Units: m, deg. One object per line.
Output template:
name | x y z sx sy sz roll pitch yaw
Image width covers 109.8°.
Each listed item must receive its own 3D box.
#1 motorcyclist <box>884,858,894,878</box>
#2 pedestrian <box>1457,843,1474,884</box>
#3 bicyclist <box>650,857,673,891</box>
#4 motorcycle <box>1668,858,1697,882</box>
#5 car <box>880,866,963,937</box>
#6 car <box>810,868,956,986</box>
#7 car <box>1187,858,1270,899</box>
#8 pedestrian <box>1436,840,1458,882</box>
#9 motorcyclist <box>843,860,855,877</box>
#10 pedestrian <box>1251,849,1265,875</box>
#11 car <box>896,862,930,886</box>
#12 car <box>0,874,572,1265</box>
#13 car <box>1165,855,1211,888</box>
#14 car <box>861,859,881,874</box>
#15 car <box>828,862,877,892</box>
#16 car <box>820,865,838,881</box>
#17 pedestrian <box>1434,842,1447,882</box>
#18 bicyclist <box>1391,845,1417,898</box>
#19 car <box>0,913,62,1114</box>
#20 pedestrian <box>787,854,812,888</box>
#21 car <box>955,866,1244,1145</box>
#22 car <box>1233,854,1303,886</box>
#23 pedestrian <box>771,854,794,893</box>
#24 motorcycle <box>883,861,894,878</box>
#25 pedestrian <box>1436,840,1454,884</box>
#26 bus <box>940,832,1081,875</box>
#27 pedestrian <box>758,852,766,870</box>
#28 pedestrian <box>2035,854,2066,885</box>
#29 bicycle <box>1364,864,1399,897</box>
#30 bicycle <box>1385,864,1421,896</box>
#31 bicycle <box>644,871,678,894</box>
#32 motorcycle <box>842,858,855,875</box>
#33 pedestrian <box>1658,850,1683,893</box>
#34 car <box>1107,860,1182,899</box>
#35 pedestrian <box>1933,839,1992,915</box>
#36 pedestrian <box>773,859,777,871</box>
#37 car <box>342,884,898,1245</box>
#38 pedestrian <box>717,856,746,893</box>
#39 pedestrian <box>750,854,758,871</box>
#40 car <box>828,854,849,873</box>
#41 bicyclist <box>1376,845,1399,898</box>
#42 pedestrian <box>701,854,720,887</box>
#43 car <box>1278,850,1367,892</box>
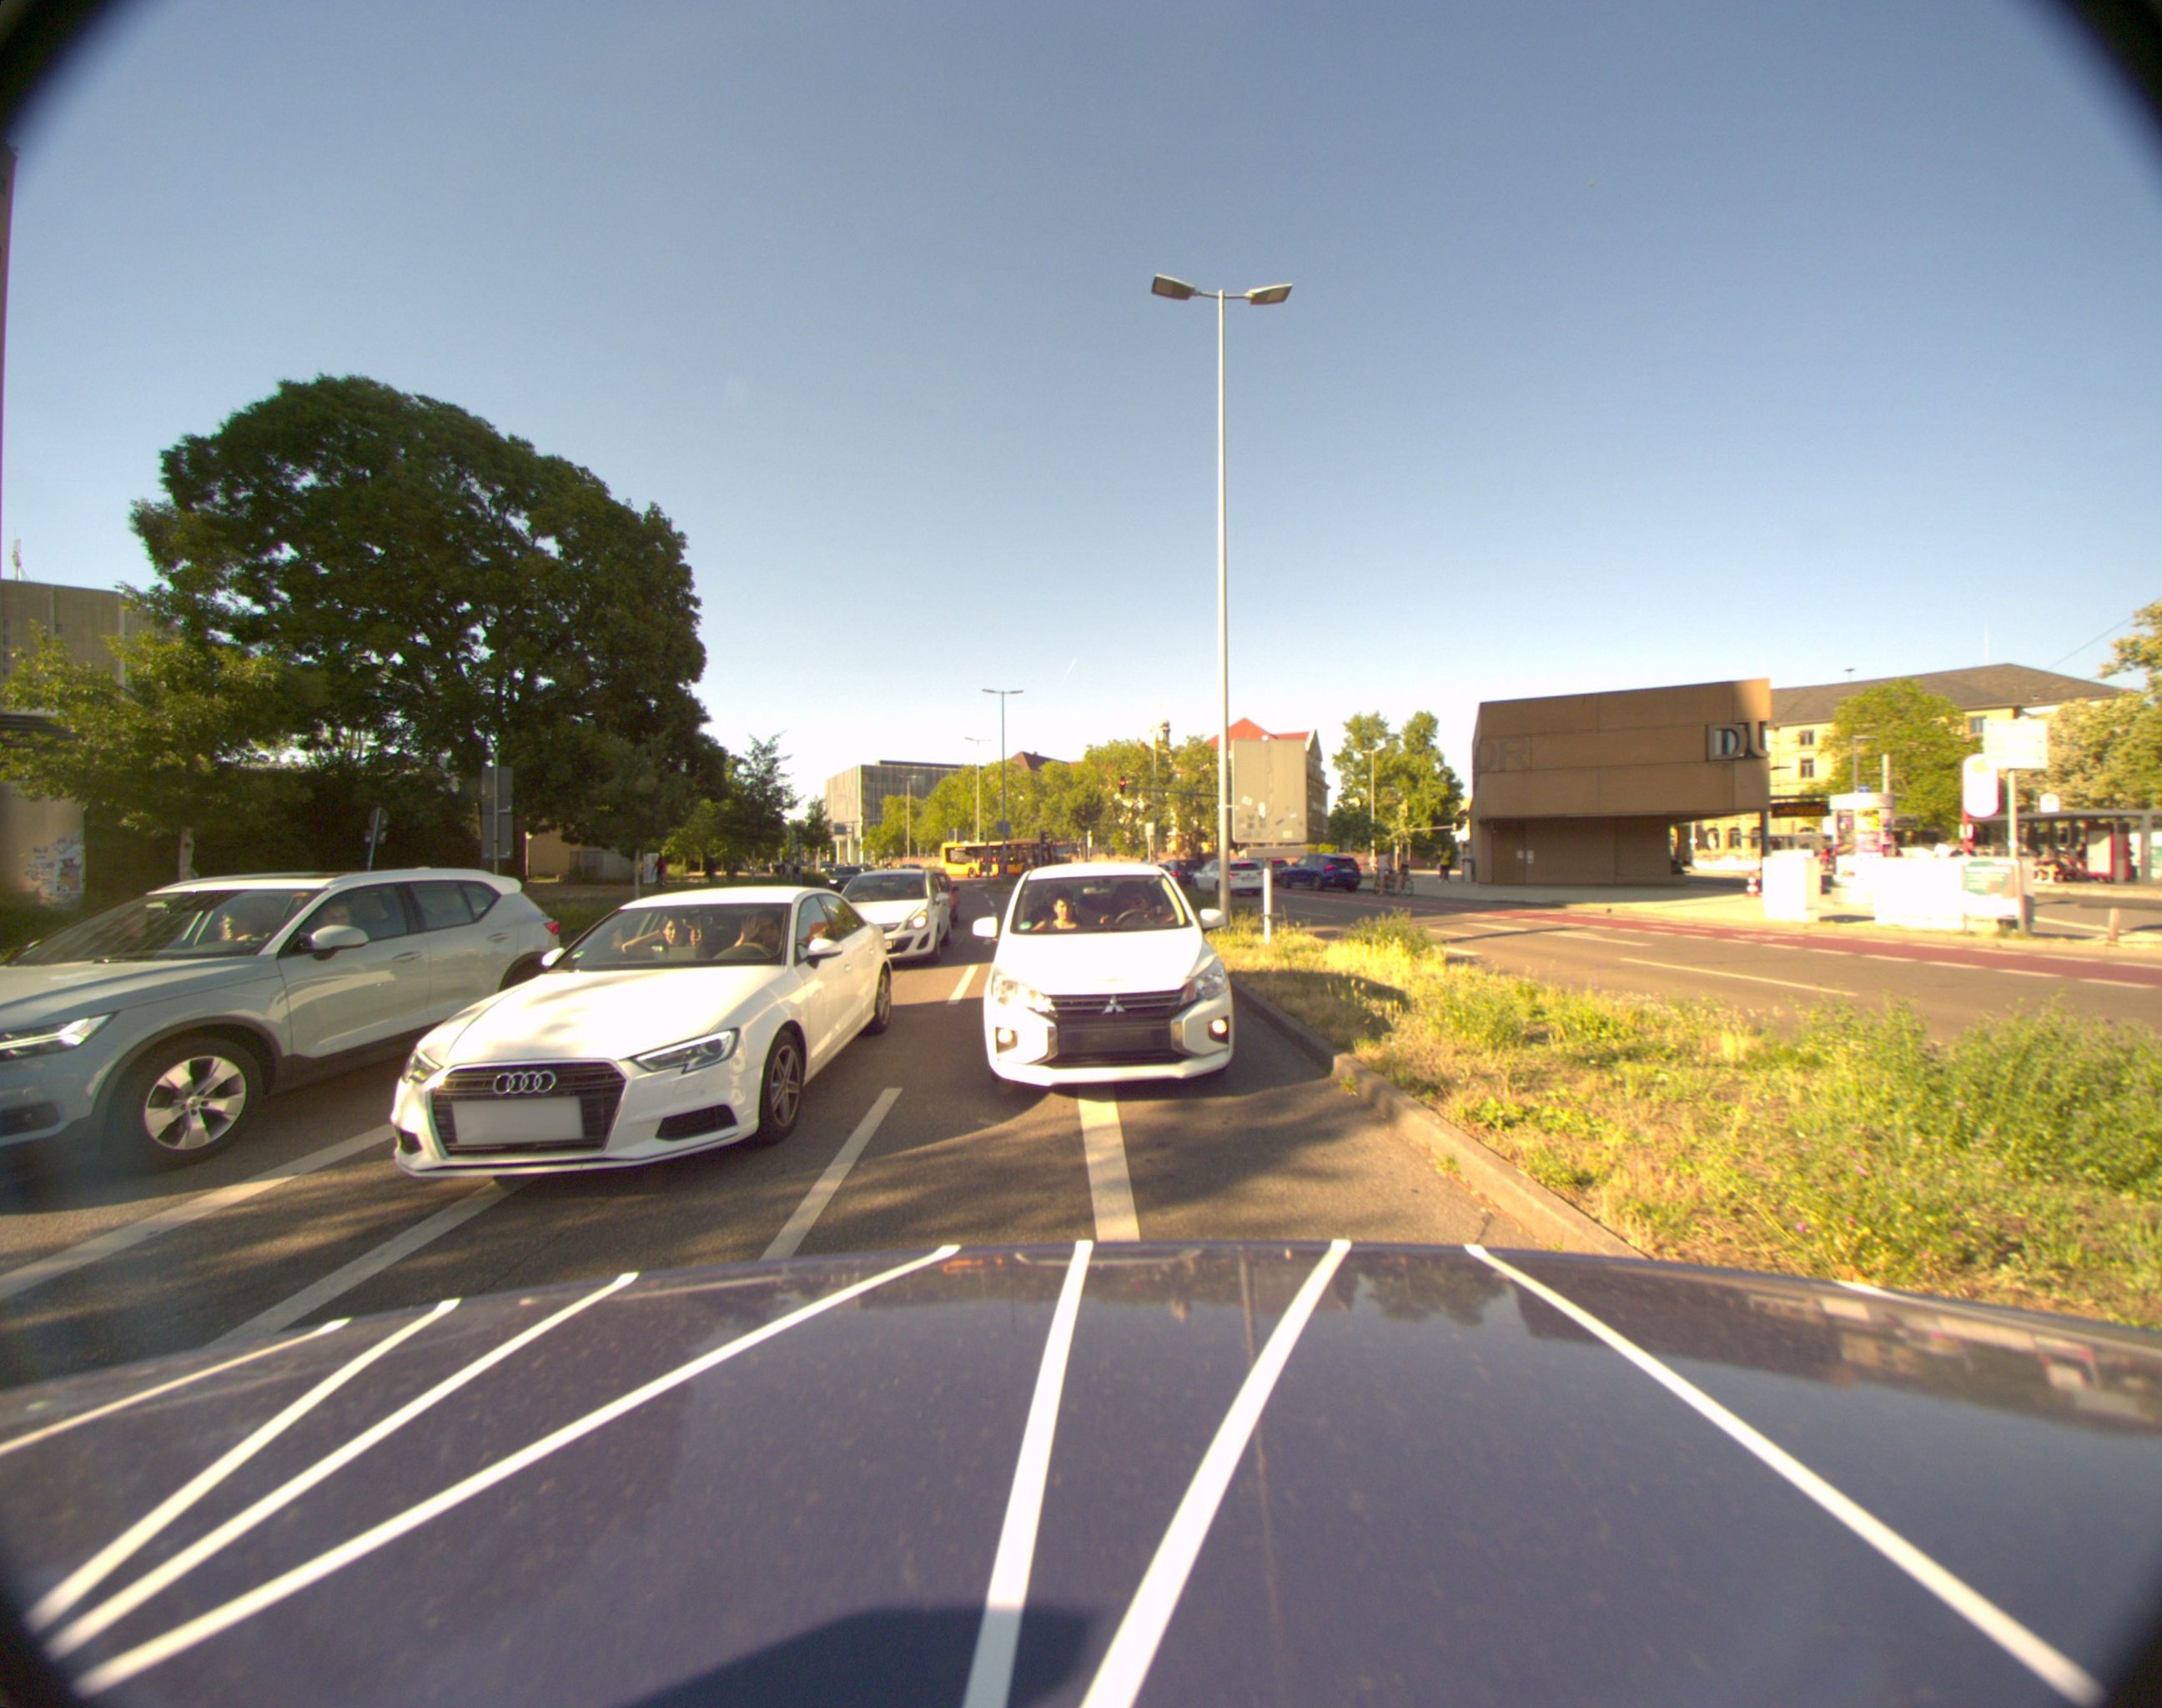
motorcyclist | -15.545 1.156 61.527 0.712 1.581 0.689 -3 1 -19
pedestrian | 19.123 0.451 37.766 0.655 2.002 0.469 -2 1 20
bicyclist | -19.827 0.914 35.905 0.617 1.551 0.870 -2 1 -8
motorcycle | 26.283 0.703 33.205 0.948 1.061 0.331 -1 1 39
car | -3.895 1.096 19.096 1.628 1.451 4.039 -2 1 -7
car | -3.072 1.048 12.579 1.628 1.451 4.039 -2 1 -5
car | 5.977 0.949 31.300 1.850 1.483 4.388 -2 1 -10
pedestrian | 17.964 0.332 37.258 0.777 2.002 0.773 -2 1 13
motorcyclist | -17.904 1.096 58.624 0.718 1.297 0.734 -2 1 -13
pedestrian | 13.034 0.570 55.806 0.797 1.886 0.612 0 1 40
car | -11.307 1.317 50.980 1.758 1.451 4.182 -3 1 -19
car | -5.748 1.051 5.257 1.628 1.611 4.223 -2 1 -2
car | 5.217 0.820 37.388 1.755 1.451 4.189 -2 1 2
car | -22.627 1.284 81.829 1.748 1.536 3.993 -1 0 -20
car | -12.901 1.264 43.104 1.756 1.451 4.186 -2 1 -5
car | -28.774 2.107 86.830 1.748 1.696 3.993 -1 0 -21
pedestrian | 18.277 0.397 38.615 0.467 2.002 0.657 -2 1 17
bicyclist | 12.484 0.672 29.378 0.611 2.002 0.708 -1 1 -15
car | -8.756 1.240 3.882 1.628 1.451 4.040 -2 1 -2
pedestrian | -16.866 1.008 45.584 1.143 2.002 1.285 -2 1 -10
car | 0.058 0.912 6.433 1.628 1.451 4.040 -2 1 -2
car | 9.517 0.790 39.135 1.850 1.483 4.388 1 0 -10
pedestrian | -15.897 1.028 40.447 0.895 2.002 0.881 -2 1 -10
motorcycle | -15.618 1.215 61.619 0.718 1.297 2.231 -3 1 -17
pedestrian | 16.909 0.363 35.292 0.655 2.002 0.469 -2 1 20
bus | -6.011 0.026 62.519 12.510 3.193 3.093 -2 1 36
pedestrian | -28.669 0.592 68.185 0.548 1.597 0.603 -3 1 -19
pedestrian | 38.940 0.614 30.534 0.539 1.180 0.659 -2 1 29
bicycle | 11.676 1.011 29.526 0.464 1.185 1.395 -3 1 -17
bicycle | 12.483 0.981 29.462 0.464 1.185 1.395 -3 1 -17
bicycle | -19.811 1.338 35.870 0.660 0.958 2.033 0 1 -7
motorcycle | -17.915 0.956 58.584 0.718 1.297 2.232 -2 1 -13
pedestrian | 28.044 0.824 36.155 0.780 2.002 0.771 -3 2 -42
car | 2.650 1.037 32.824 1.758 1.451 4.183 -2 1 -17
pedestrian | 20.806 0.543 17.945 0.713 1.748 0.583 -2 1 20
pedestrian | -42.324 1.469 105.143 0.399 1.676 0.483 -1 1 1
car | -2.552 1.035 5.390 1.628 1.396 3.832 -2 1 -2
pedestrian | -16.986 0.986 36.987 1.010 1.711 0.884 -2 1 -10
pedestrian | -29.249 0.744 67.923 0.548 1.521 0.603 -3 1 -19
car | -23.436 0.907 73.356 1.748 1.696 3.993 -1 0 -21
bicyclist | 11.776 0.670 29.221 0.611 2.002 0.565 -1 1 -15
pedestrian | -17.920 0.782 36.764 0.596 1.585 0.594 -2 1 -8
car | 10.433 0.701 33.181 1.757 1.680 4.183 -1 0 -14
